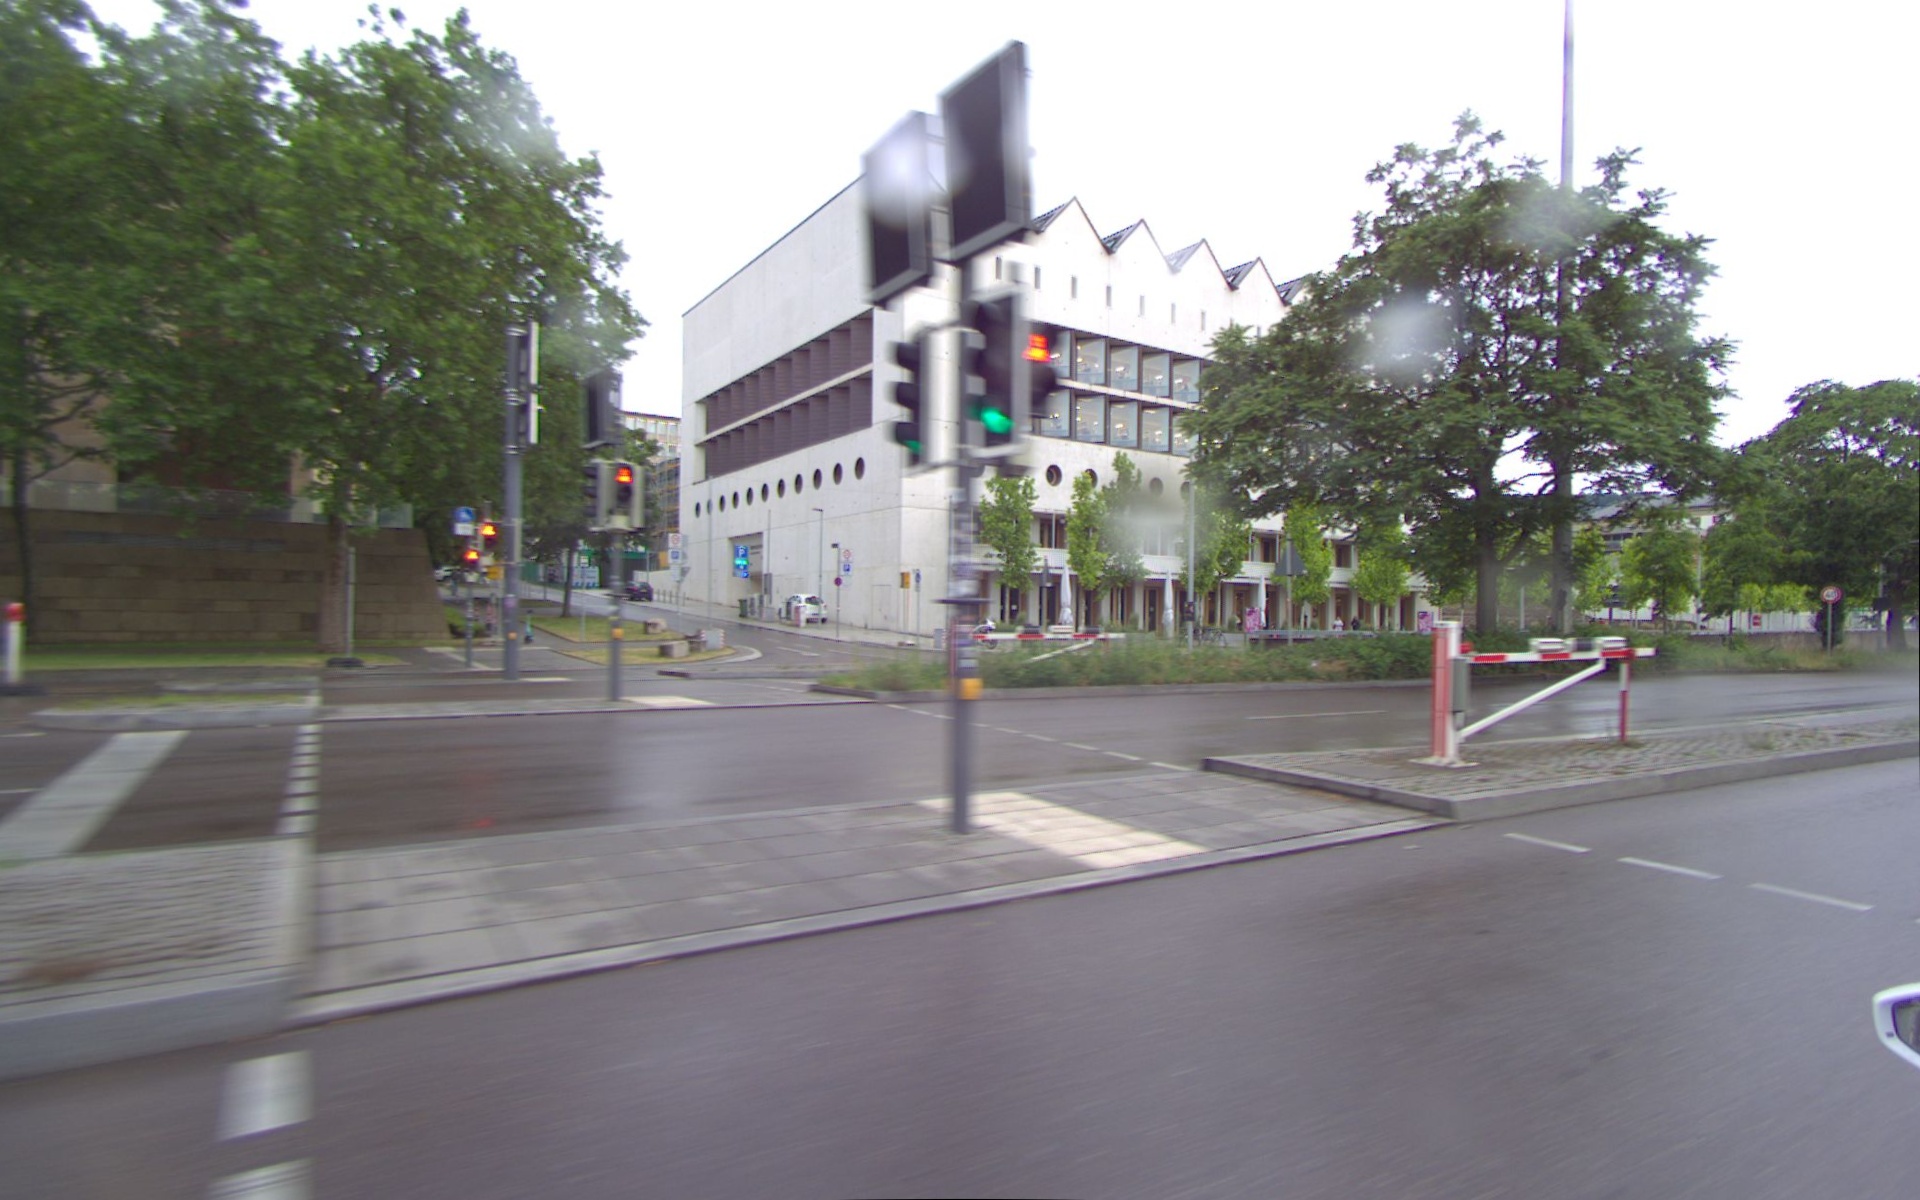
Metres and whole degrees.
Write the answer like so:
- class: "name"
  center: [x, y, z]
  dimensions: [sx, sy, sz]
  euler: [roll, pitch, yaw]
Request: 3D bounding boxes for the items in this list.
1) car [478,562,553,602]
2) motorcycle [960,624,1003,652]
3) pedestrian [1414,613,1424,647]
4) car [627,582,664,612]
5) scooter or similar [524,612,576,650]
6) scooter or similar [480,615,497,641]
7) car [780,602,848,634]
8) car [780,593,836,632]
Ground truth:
- class: "car"
  center: [-26.886, -1.041, 60.790]
  dimensions: [3.953, 2.142, 1.984]
  euler: [2, -3, -30]
- class: "motorcycle"
  center: [0.886, 1.563, 41.559]
  dimensions: [1.807, 1.169, 0.426]
  euler: [-1, -2, 30]
- class: "pedestrian"
  center: [27.858, 1.838, 60.934]
  dimensions: [0.531, 2.040, 0.531]
  euler: [0, -3, 22]
- class: "car"
  center: [-23.905, -0.187, 76.318]
  dimensions: [1.975, 2.040, 3.973]
  euler: [2, -3, -27]
- class: "scooter or similar"
  center: [-15.136, 1.157, 37.126]
  dimensions: [1.646, 1.369, 0.713]
  euler: [1, -3, -13]
- class: "scooter or similar"
  center: [-18.916, 1.130, 40.316]
  dimensions: [0.430, 1.031, 1.667]
  euler: [2, -3, -21]
- class: "car"
  center: [-7.714, 0.949, 52.830]
  dimensions: [1.980, 1.617, 3.961]
  euler: [1, -1, -35]
- class: "car"
  center: [-8.670, 0.768, 57.082]
  dimensions: [1.975, 2.040, 3.973]
  euler: [2, -3, -27]
